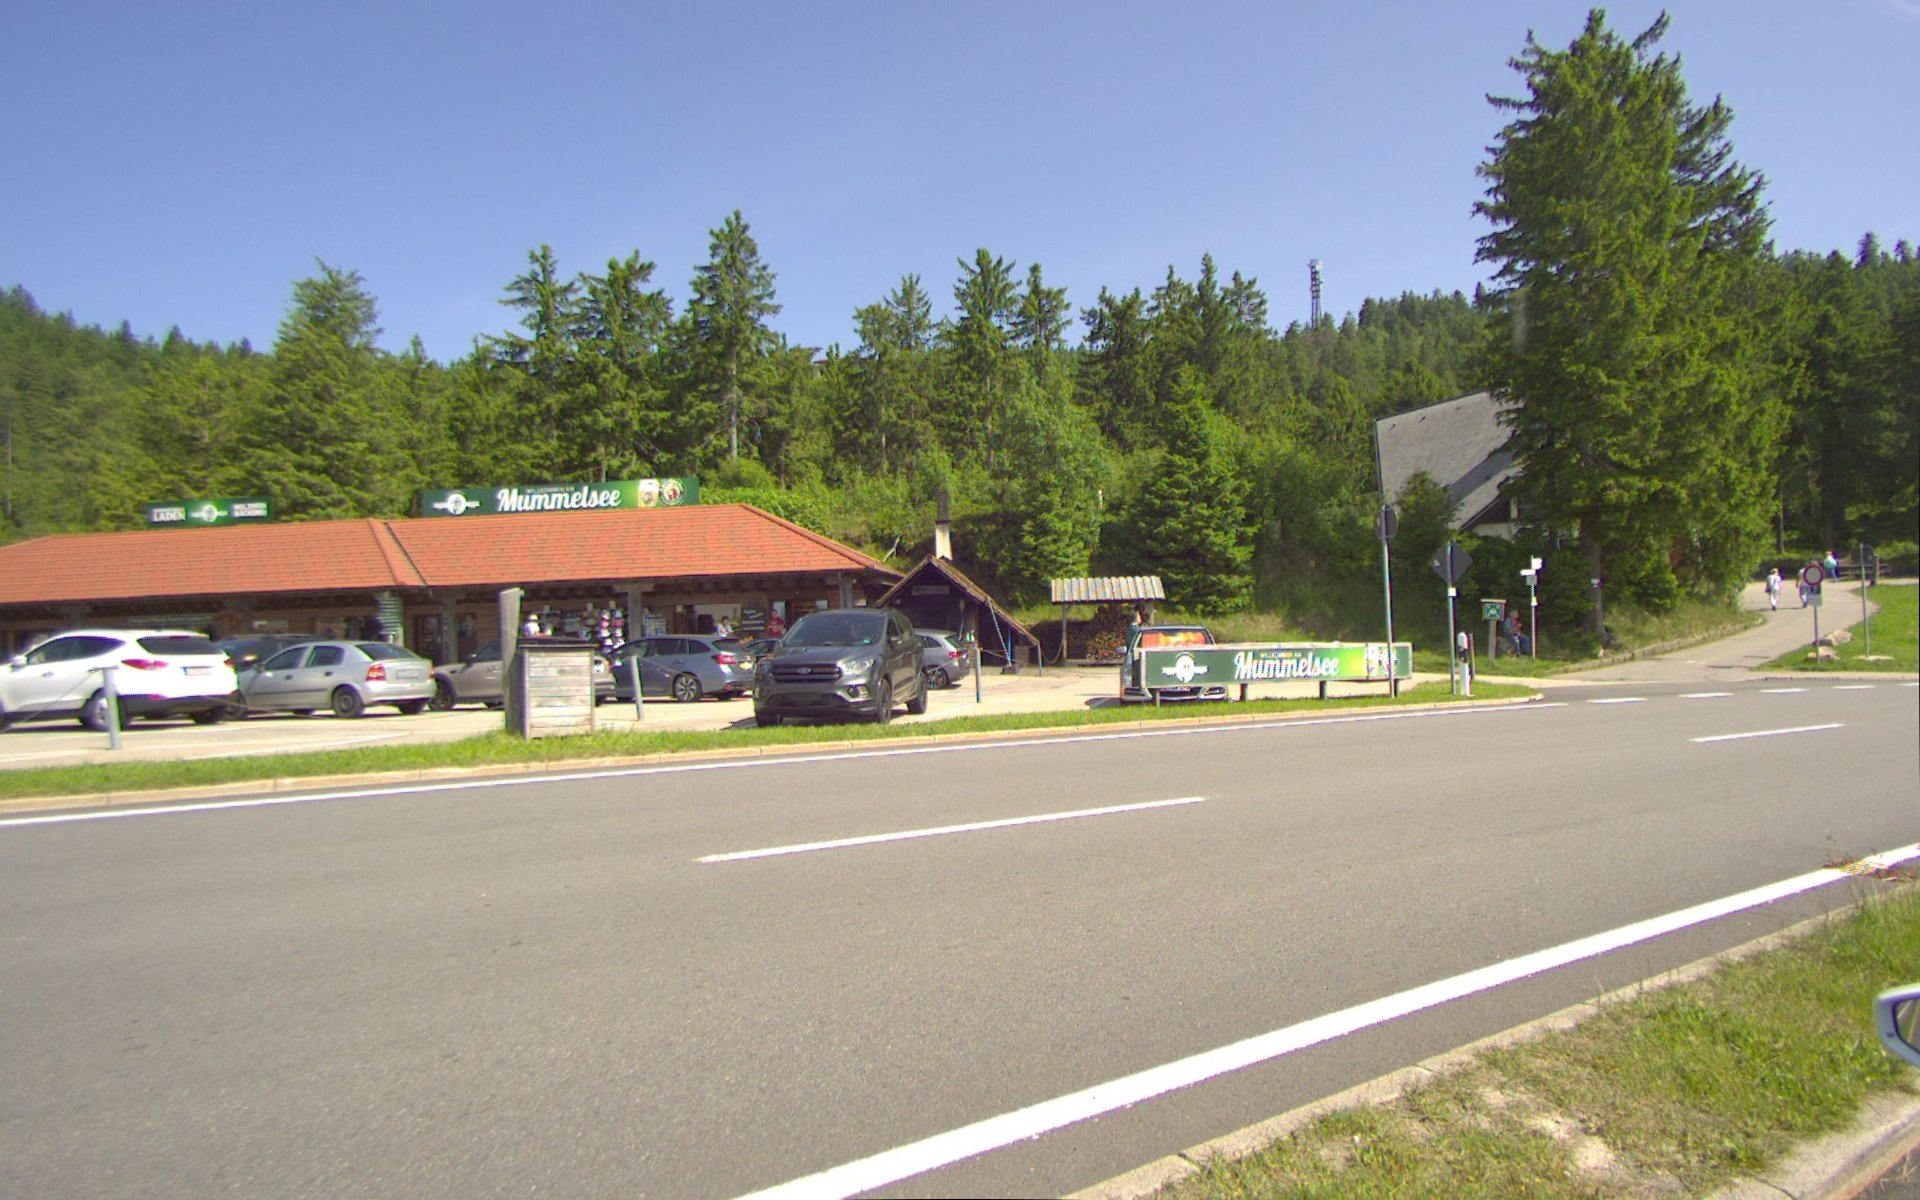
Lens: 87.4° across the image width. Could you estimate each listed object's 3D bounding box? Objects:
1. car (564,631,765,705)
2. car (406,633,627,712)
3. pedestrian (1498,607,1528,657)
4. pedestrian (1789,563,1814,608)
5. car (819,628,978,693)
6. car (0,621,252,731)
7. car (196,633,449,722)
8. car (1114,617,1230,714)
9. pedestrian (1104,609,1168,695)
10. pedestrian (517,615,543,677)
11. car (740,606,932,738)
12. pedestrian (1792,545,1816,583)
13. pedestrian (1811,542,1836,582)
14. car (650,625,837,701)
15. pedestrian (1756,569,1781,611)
[{"bbox_3d":[-6.491,1.505,22.138,3.920,1.438,1.686,-3,-3,15],"label":"car"},{"bbox_3d":[-9.011,1.479,20.475,3.920,1.438,1.686,-3,-3,15],"label":"car"},{"bbox_3d":[17.363,1.013,31.560,0.546,1.553,0.574,-2,-1,-32],"label":"pedestrian"},{"bbox_3d":[34.834,-0.603,41.571,0.637,1.822,0.648,2,-3,-38],"label":"pedestrian"},{"bbox_3d":[-1.604,1.598,26.781,3.919,1.514,1.686,-2,0,9],"label":"car"},{"bbox_3d":[-14.545,1.307,17.199,3.949,1.693,1.778,-3,-3,13],"label":"car"},{"bbox_3d":[-12.010,1.458,19.008,3.944,1.487,1.778,-3,-3,13],"label":"car"},{"bbox_3d":[3.660,1.095,17.626,1.708,1.460,3.973,-3,-2,10],"label":"car"},{"bbox_3d":[3.759,1.101,21.494,0.950,1.757,0.892,-2,-1,-32],"label":"pedestrian"},{"bbox_3d":[-13.463,1.430,31.433,0.517,1.898,0.547,-1,-1,12],"label":"pedestrian"},{"bbox_3d":[-1.640,0.966,14.809,1.753,1.655,4.214,0,-2,8],"label":"car"},{"bbox_3d":[46.541,-1.966,55.377,0.932,2.040,0.791,-1,-2,-40],"label":"pedestrian"},{"bbox_3d":[46.109,-2.021,53.652,0.846,2.040,0.808,-1,-2,-40],"label":"pedestrian"},{"bbox_3d":[-5.221,1.520,24.420,3.920,1.639,2.001,-3,-1,16],"label":"car"},{"bbox_3d":[33.573,-0.411,41.705,0.637,1.688,0.648,2,-3,-38],"label":"pedestrian"}]
